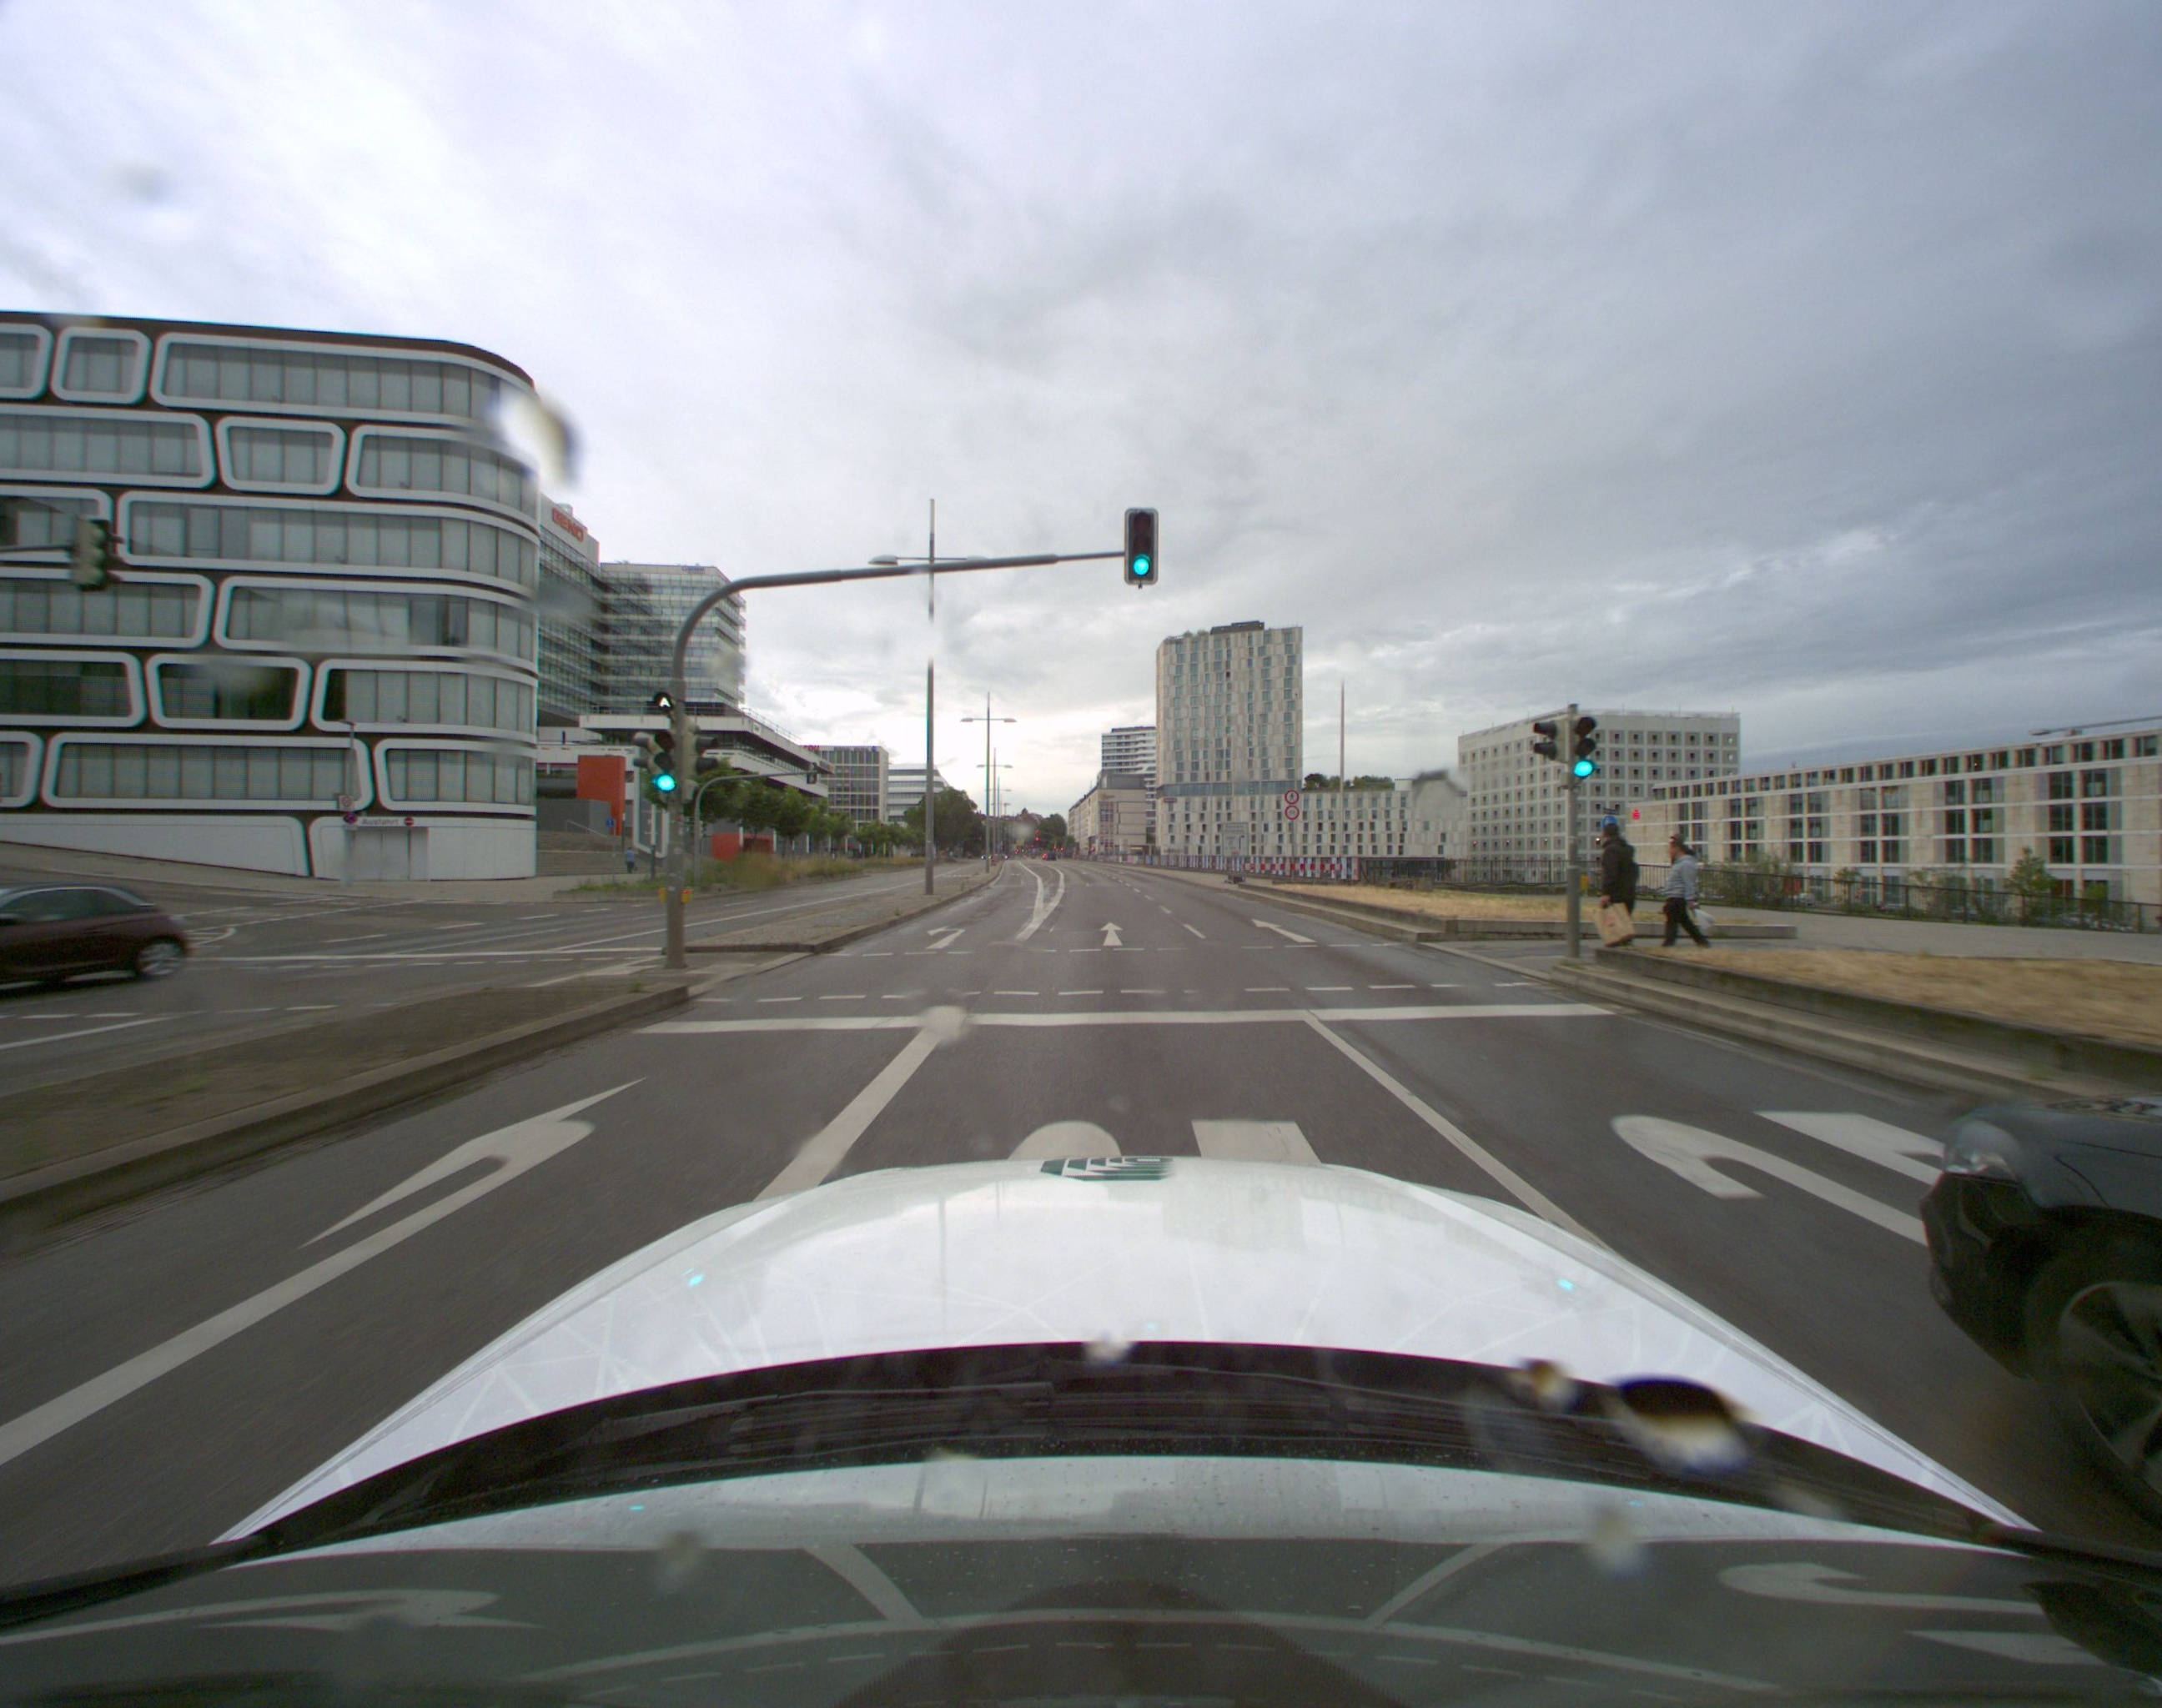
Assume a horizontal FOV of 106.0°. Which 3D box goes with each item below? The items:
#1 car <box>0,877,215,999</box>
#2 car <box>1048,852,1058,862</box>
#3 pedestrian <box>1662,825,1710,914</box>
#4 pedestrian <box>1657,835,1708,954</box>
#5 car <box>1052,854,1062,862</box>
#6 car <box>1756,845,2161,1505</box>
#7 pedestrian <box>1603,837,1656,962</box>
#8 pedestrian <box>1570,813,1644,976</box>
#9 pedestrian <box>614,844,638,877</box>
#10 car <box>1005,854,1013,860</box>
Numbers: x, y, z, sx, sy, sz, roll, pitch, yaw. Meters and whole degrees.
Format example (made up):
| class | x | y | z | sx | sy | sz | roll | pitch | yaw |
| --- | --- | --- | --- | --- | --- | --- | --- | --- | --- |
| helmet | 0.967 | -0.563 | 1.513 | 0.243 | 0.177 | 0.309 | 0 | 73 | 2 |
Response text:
| class | x | y | z | sx | sy | sz | roll | pitch | yaw |
| --- | --- | --- | --- | --- | --- | --- | --- | --- | --- |
| car | -14.107 | 1.086 | 10.539 | 1.742 | 1.407 | 3.726 | -1 | 0 | 1 |
| car | -6.457 | 0.741 | 187.693 | 1.987 | 2.343 | 4.000 | 0 | 0 | 1 |
| pedestrian | 11.080 | 0.261 | 14.909 | 0.662 | 1.578 | 0.673 | 0 | 1 | 39 |
| pedestrian | 8.287 | 0.531 | 11.238 | 0.544 | 1.578 | 0.675 | 0 | 1 | 36 |
| car | -6.364 | 1.023 | 216.471 | 1.984 | 1.815 | 4.006 | -1 | 1 | 4 |
| car | 3.301 | 0.736 | 0.805 | 1.866 | 1.436 | 4.207 | -1 | 1 | 1 |
| pedestrian | 7.232 | 0.567 | 10.728 | 0.544 | 1.578 | 0.675 | 0 | 1 | 36 |
| pedestrian | 6.260 | 0.447 | 9.678 | 0.787 | 1.841 | 0.544 | -2 | 1 | -42 |
| pedestrian | -28.161 | 0.389 | 50.406 | 1.026 | 2.013 | 0.716 | -1 | 1 | 0 |
| car | -21.459 | 0.822 | 243.766 | 1.987 | 1.782 | 4.001 | -1 | 1 | 1 |
